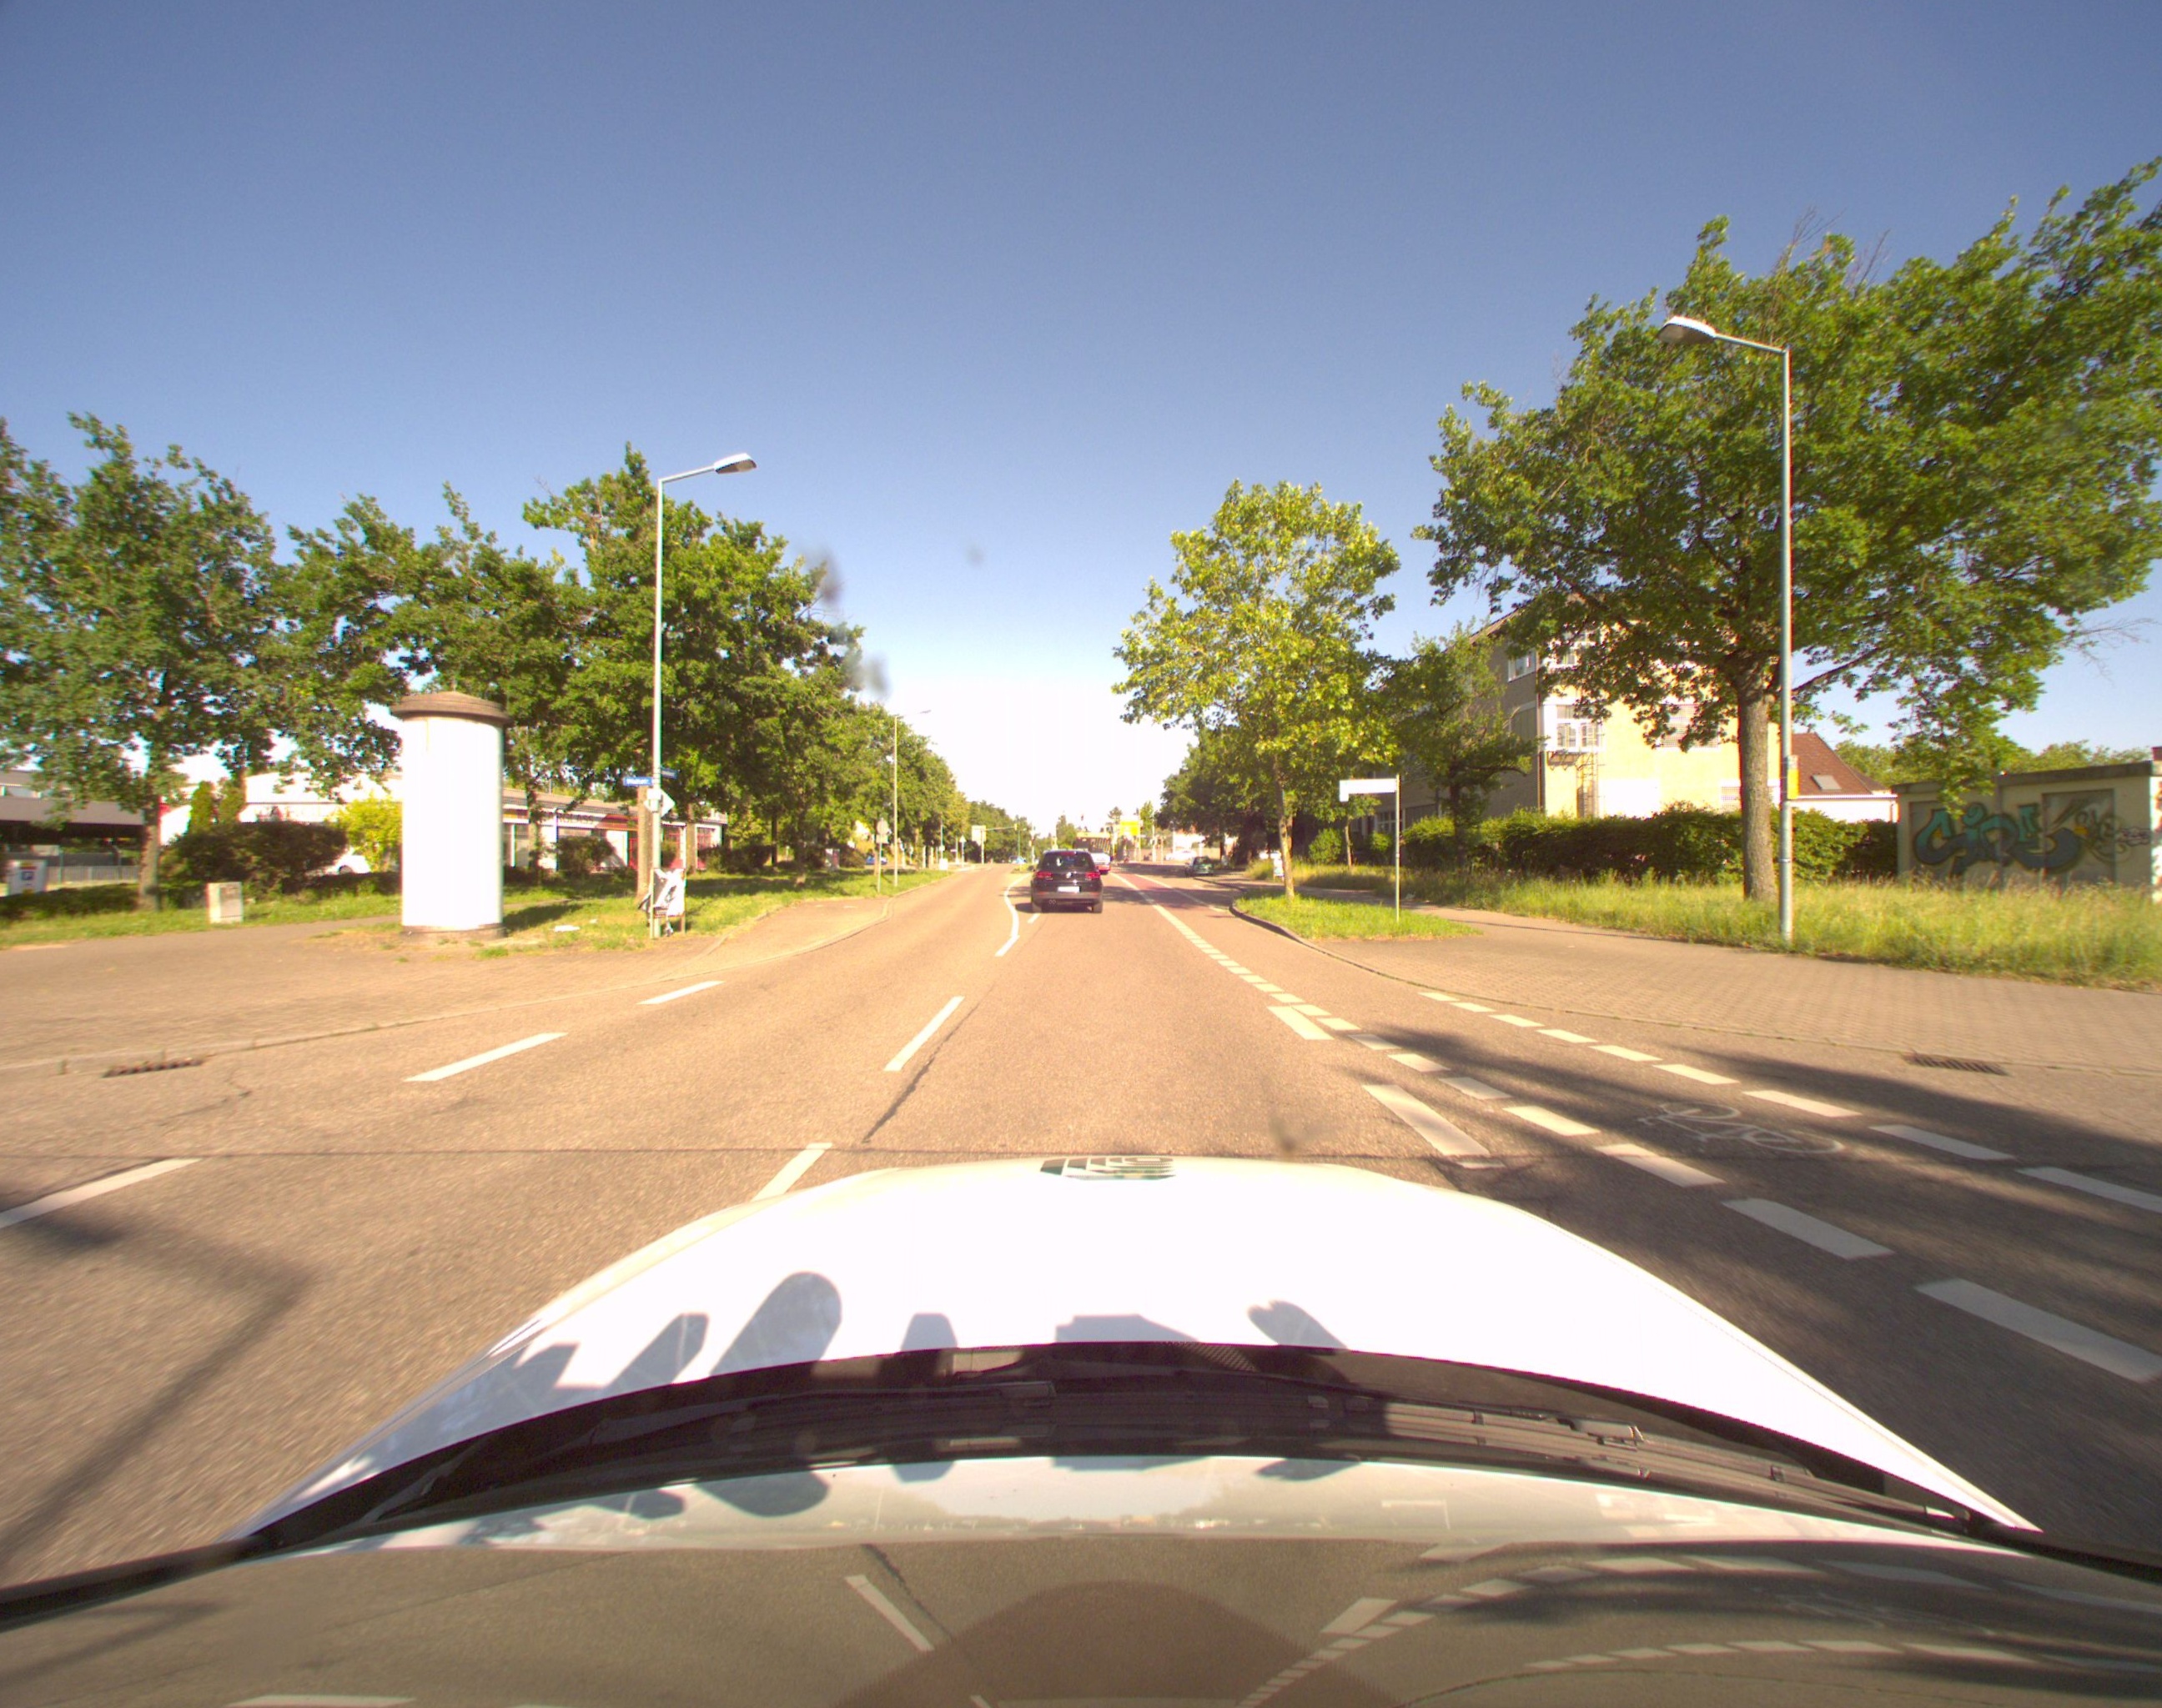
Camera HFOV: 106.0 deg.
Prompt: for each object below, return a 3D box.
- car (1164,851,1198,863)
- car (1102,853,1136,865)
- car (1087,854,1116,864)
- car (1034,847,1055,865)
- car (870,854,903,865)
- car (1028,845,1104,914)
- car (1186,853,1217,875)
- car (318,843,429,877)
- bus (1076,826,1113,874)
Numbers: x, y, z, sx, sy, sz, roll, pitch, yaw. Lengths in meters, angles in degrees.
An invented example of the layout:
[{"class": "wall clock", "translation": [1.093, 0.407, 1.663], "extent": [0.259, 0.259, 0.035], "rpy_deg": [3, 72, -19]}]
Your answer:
[{"class": "car", "translation": [14.011, 0.441, 114.305], "extent": [4.376, 1.683, 1.709], "rpy_deg": [1, -1, -5]}, {"class": "car", "translation": [4.124, 0.505, 87.640], "extent": [3.502, 1.302, 1.578], "rpy_deg": [0, 0, 8]}, {"class": "car", "translation": [2.841, 0.741, 113.197], "extent": [3.890, 1.340, 1.677], "rpy_deg": [1, -1, -9]}, {"class": "car", "translation": [-3.425, 0.173, 75.459], "extent": [1.751, 1.620, 4.024], "rpy_deg": [0, -1, -6]}, {"class": "car", "translation": [-24.864, 0.730, 104.138], "extent": [3.845, 1.385, 1.677], "rpy_deg": [1, -1, -9]}, {"class": "car", "translation": [-0.314, 0.651, 22.109], "extent": [1.814, 1.673, 4.004], "rpy_deg": [-1, -1, 2]}, {"class": "car", "translation": [8.361, 0.657, 56.895], "extent": [1.587, 1.428, 4.204], "rpy_deg": [-2, 0, 1]}, {"class": "car", "translation": [-32.996, 0.280, 38.052], "extent": [3.591, 1.498, 1.590], "rpy_deg": [0, -1, -6]}, {"class": "bus", "translation": [0.931, -0.307, 64.040], "extent": [2.588, 3.334, 11.981], "rpy_deg": [1, 0, 0]}]
